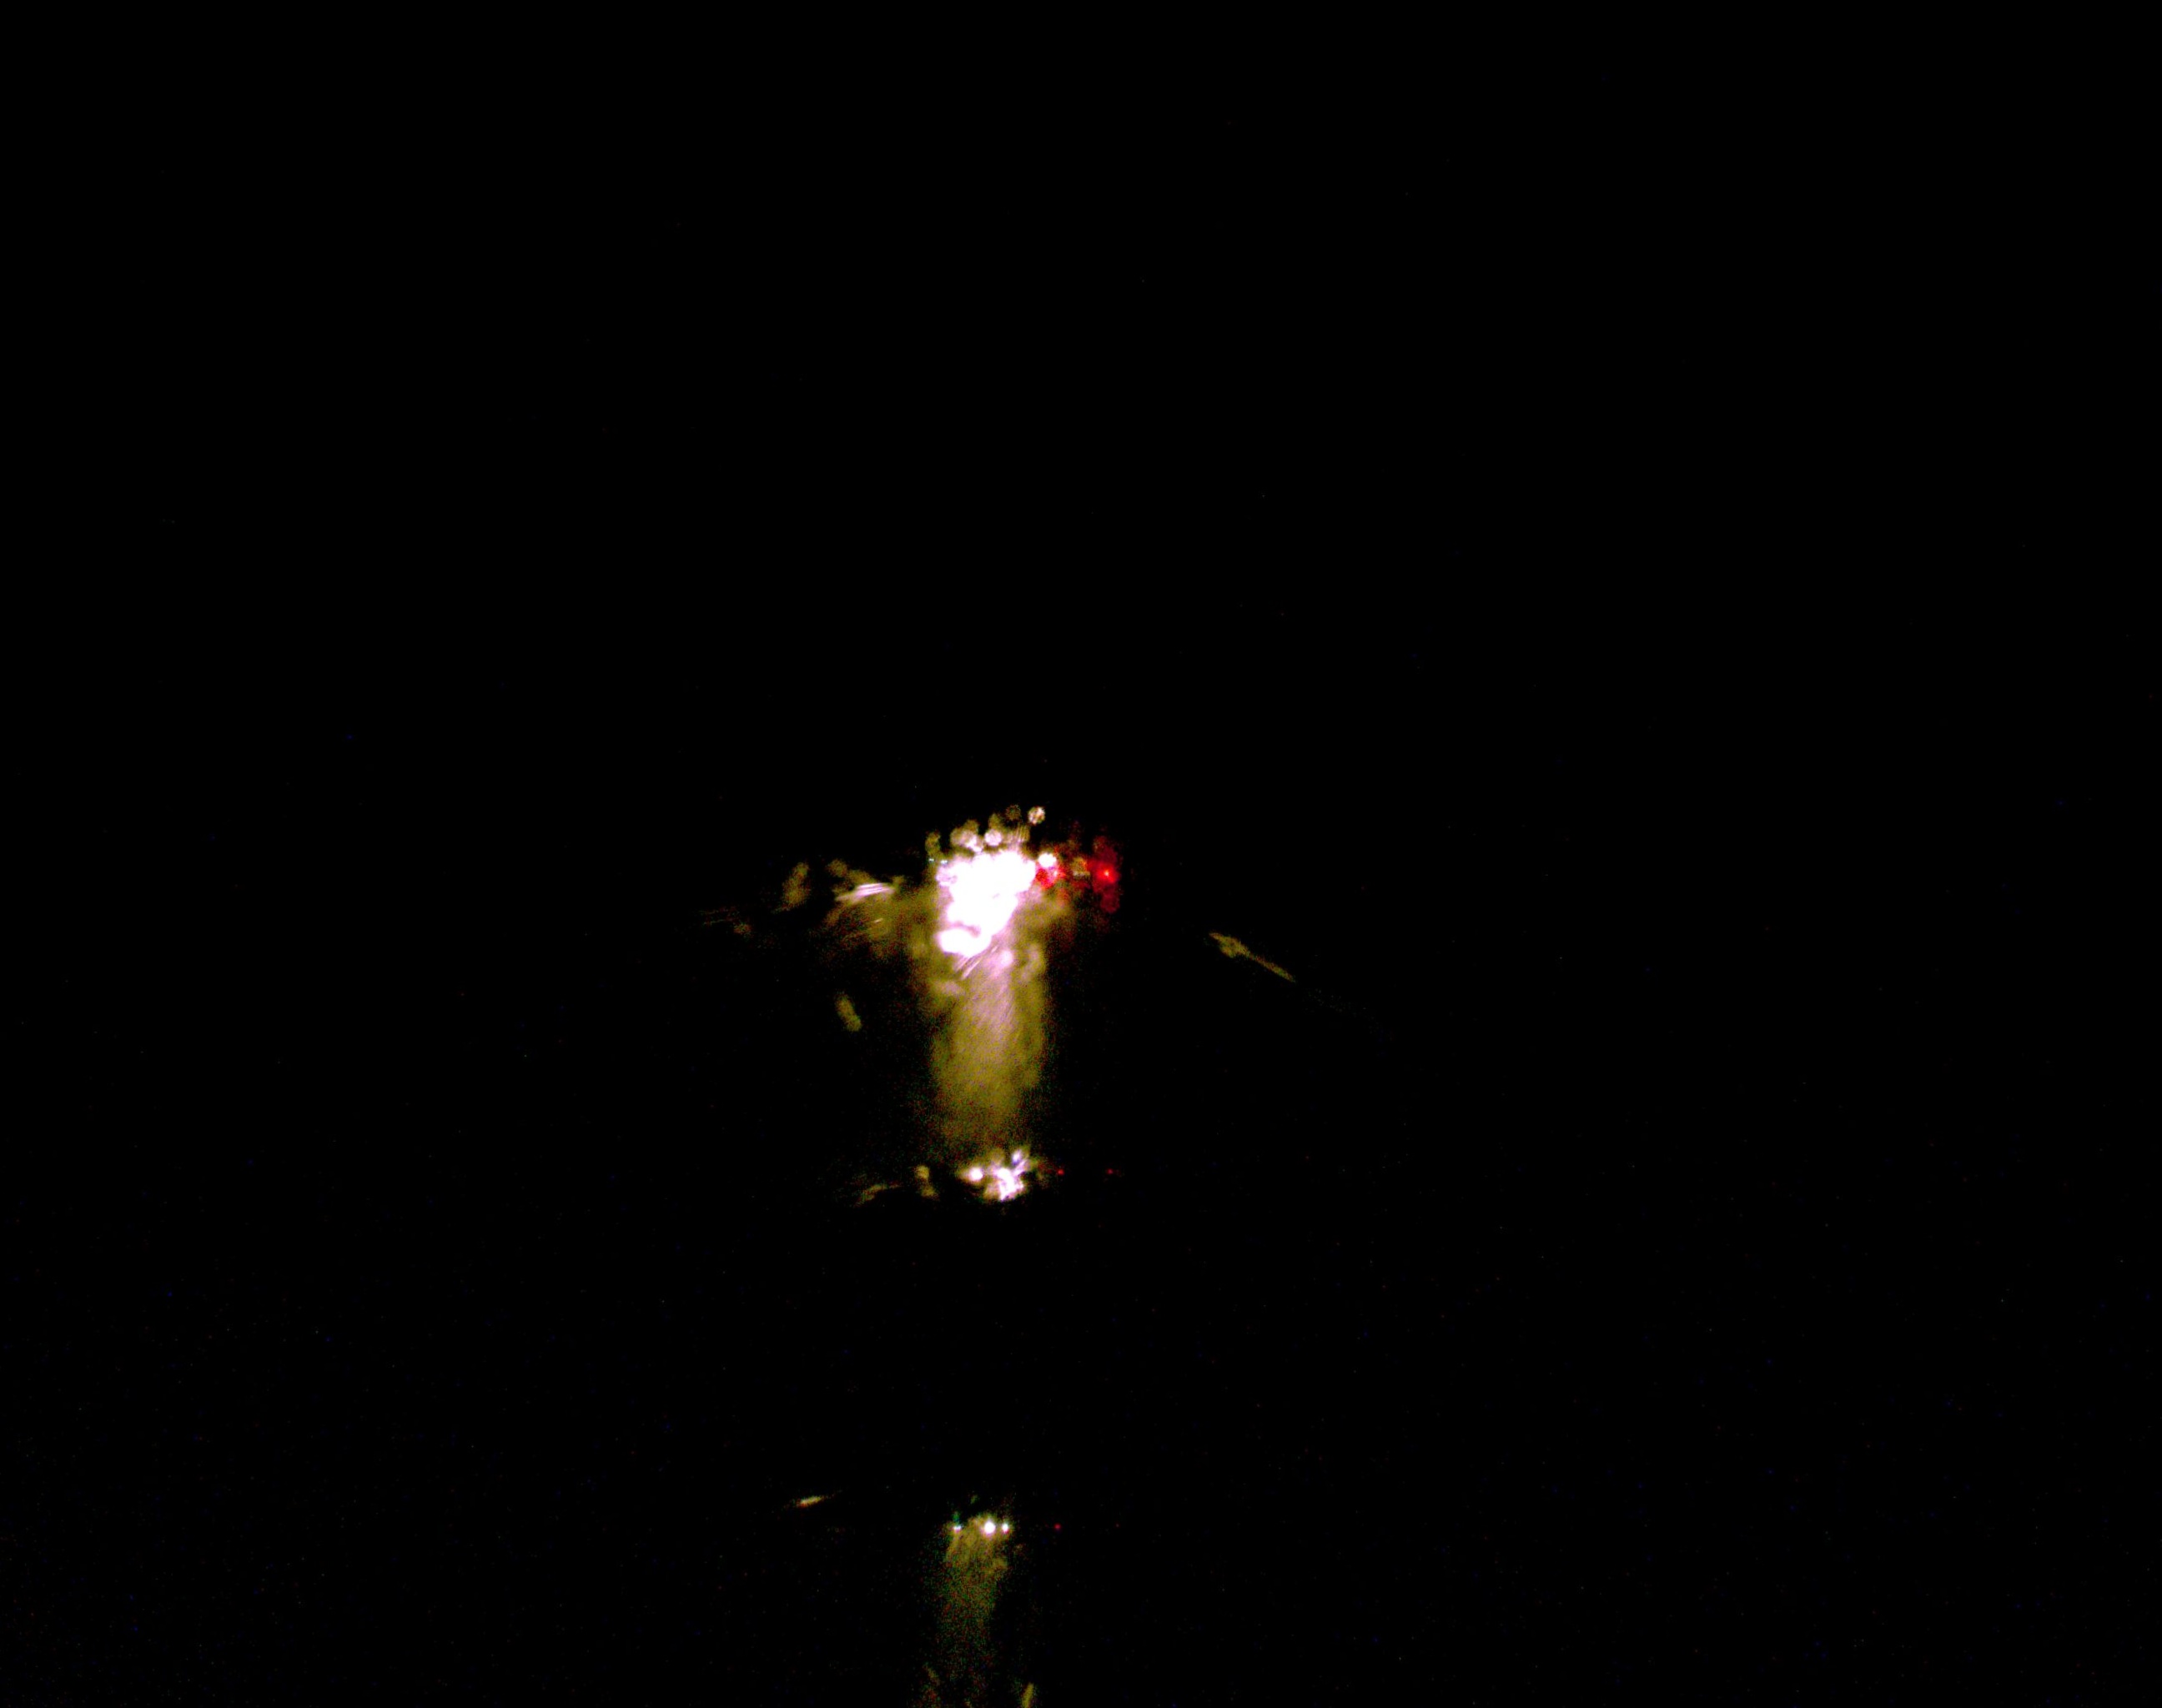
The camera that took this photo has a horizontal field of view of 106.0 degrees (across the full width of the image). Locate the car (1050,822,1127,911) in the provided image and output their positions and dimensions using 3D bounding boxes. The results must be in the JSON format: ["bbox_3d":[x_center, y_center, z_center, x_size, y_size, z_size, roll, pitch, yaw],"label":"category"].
[{"bbox_3d":[0.233,0.360,26.095,2.174,2.557,4.507,1,0,0],"label":"car"}]

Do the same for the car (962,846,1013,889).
[{"bbox_3d":[-3.730,0.499,32.982,1.558,1.525,3.485,-4,1,0],"label":"car"}]
